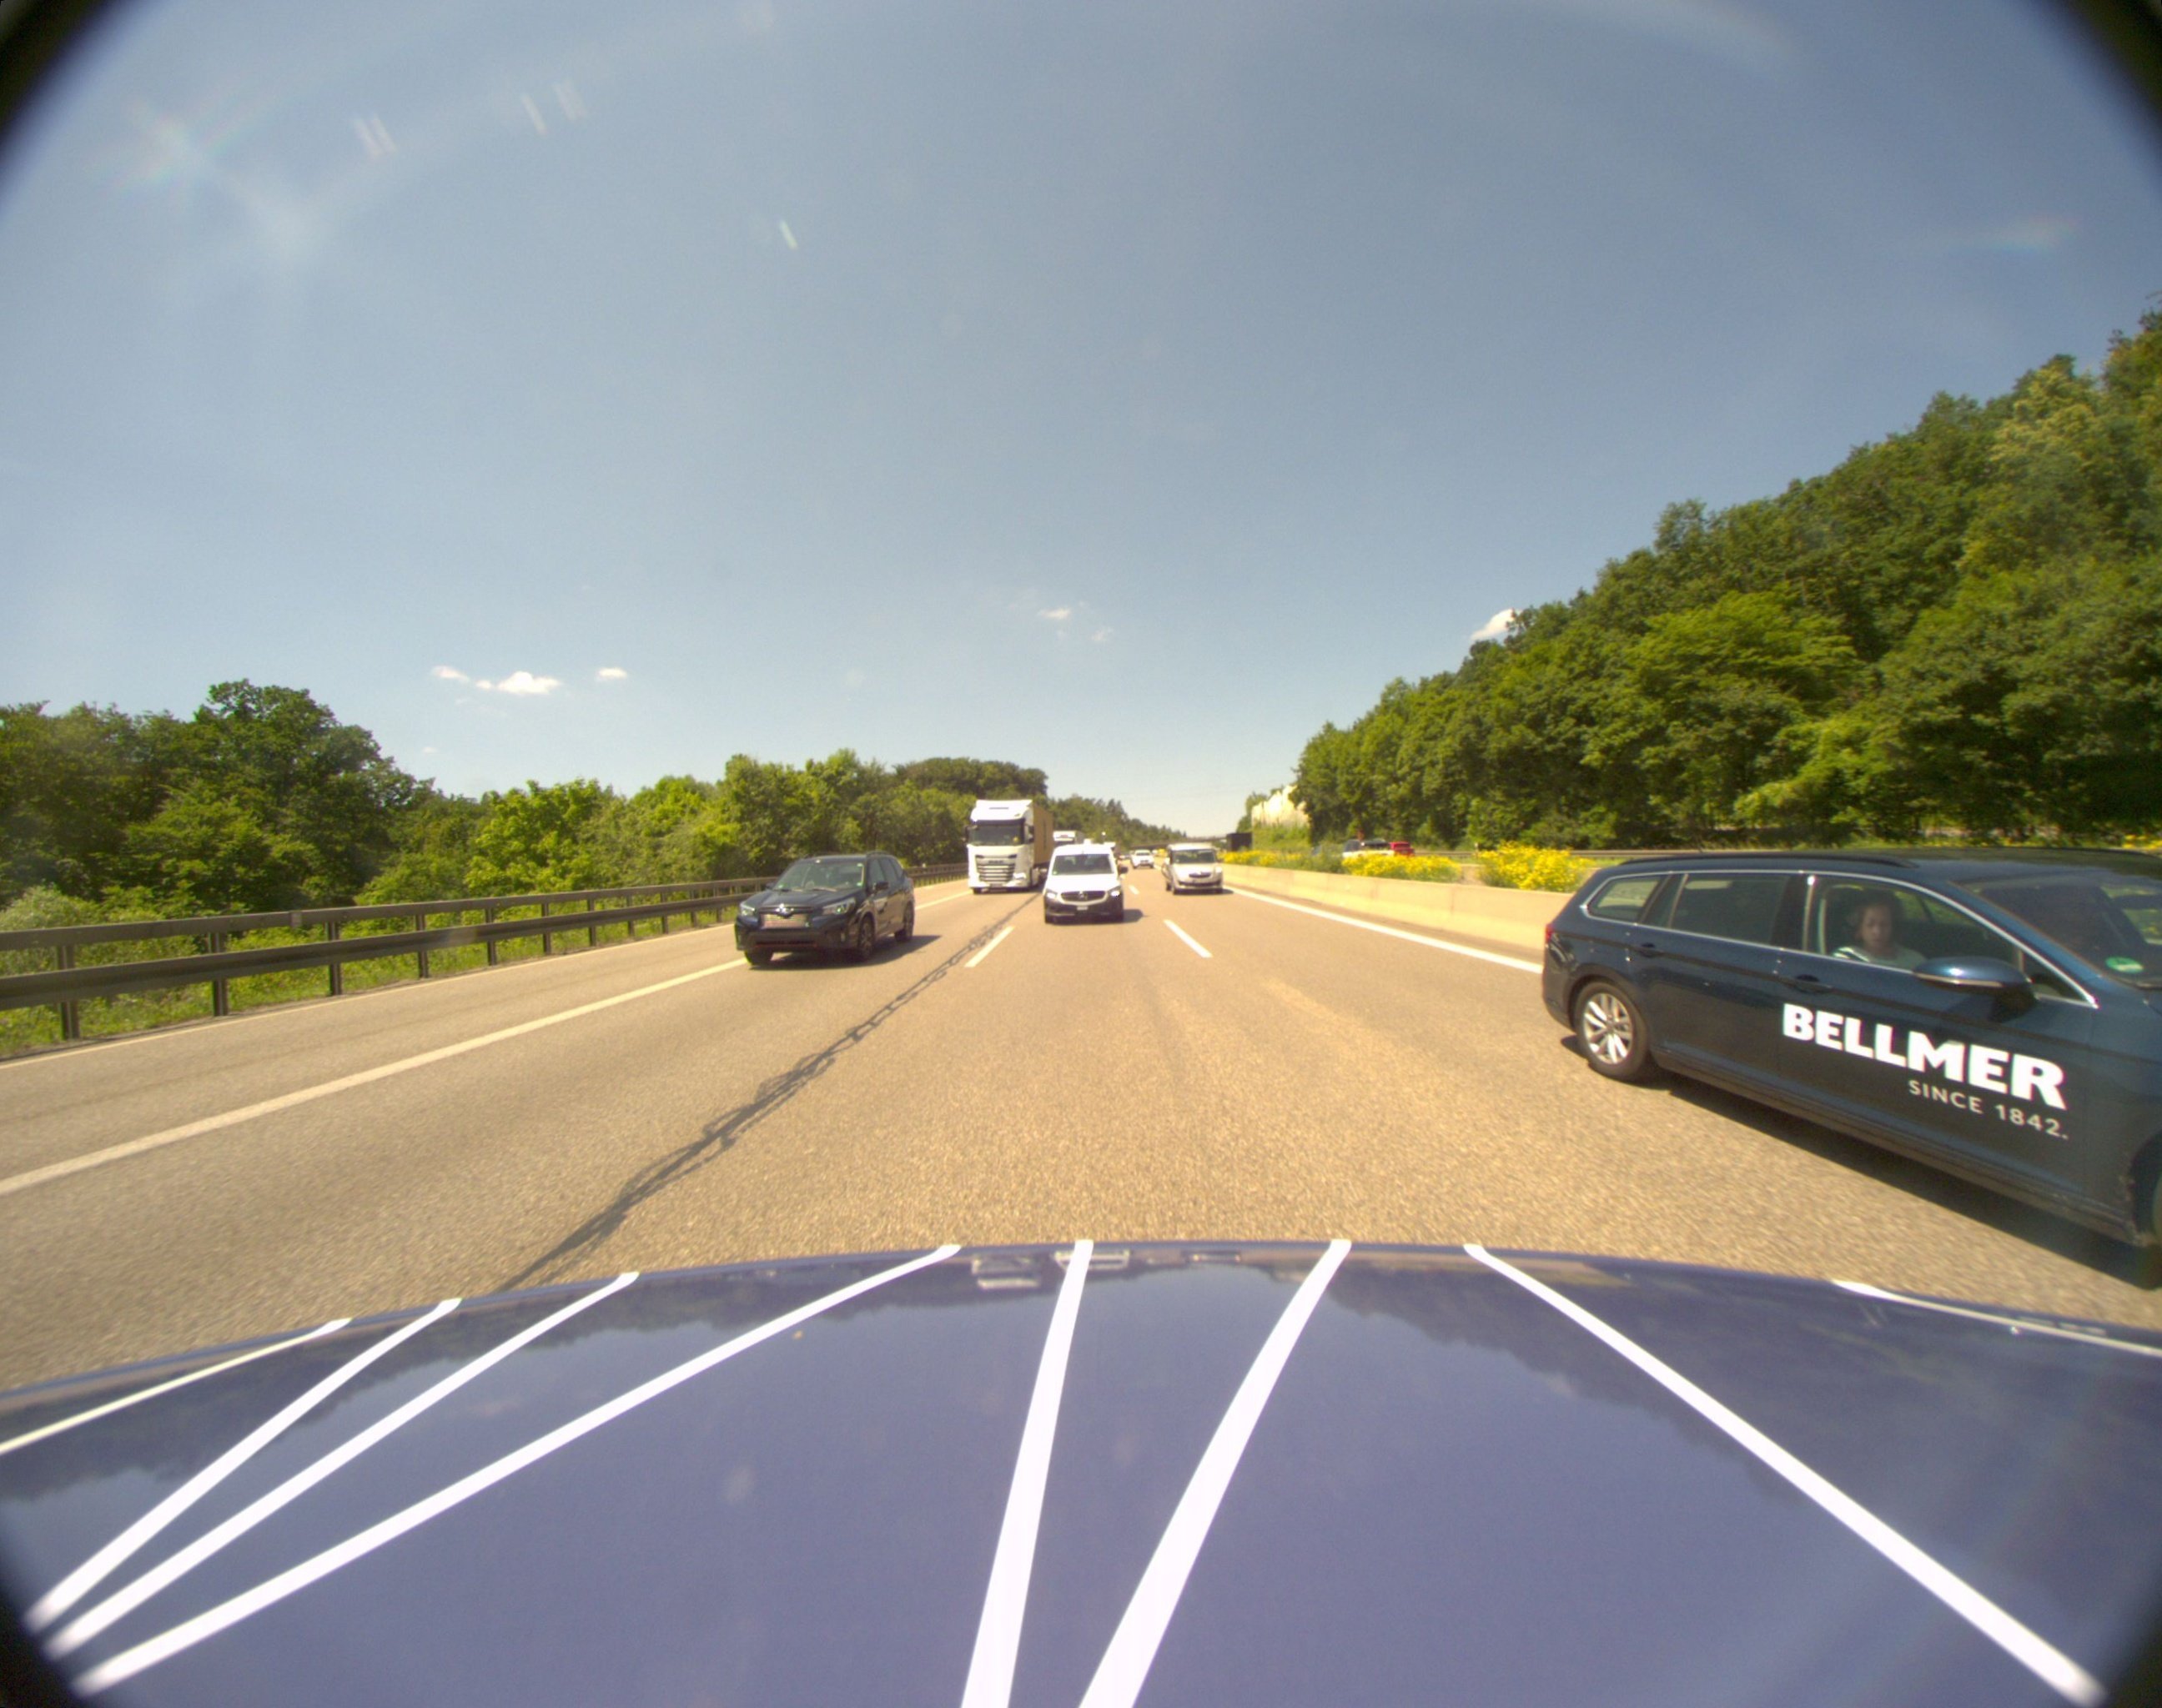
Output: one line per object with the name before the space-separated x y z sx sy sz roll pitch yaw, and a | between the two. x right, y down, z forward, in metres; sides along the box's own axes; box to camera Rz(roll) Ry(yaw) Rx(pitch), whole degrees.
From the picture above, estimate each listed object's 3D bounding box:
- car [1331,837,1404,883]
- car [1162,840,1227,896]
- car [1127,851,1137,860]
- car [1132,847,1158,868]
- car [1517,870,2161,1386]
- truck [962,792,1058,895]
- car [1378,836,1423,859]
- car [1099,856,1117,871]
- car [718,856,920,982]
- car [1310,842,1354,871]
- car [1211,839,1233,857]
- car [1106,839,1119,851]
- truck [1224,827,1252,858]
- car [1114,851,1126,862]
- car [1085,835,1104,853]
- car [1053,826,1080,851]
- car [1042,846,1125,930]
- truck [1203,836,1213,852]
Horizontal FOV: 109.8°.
car | 11.748 0.226 31.424 1.536 1.760 3.885 -2 0 1
car | 4.100 0.466 27.907 1.780 1.833 4.000 -2 0 1
car | 11.467 0.286 170.767 1.998 2.002 4.000 -2 0 0
car | 5.883 0.329 70.345 1.998 1.827 4.000 -2 0 0
car | 4.115 0.862 3.334 1.737 1.419 4.730 -2 0 1
truck | -3.152 -0.546 39.229 2.789 4.145 16.267 -1 1 2
car | 24.010 -0.470 57.206 1.731 1.625 3.999 -2 1 1
car | 3.646 1.257 103.034 1.999 2.002 3.999 -2 0 -2
car | -4.128 0.922 12.782 1.816 1.658 4.203 -2 1 1
car | 16.289 0.169 49.500 1.536 1.760 3.885 -2 0 1
car | 14.474 -0.612 78.027 1.536 1.760 3.885 -2 0 1
car | 7.348 -2.047 175.631 2.722 2.534 5.940 -2 1 0
truck | 18.317 -1.282 89.030 1.998 3.485 6.026 -2 0 1
car | 7.028 0.477 138.256 1.903 2.002 3.999 -2 0 -1
car | 1.998 -1.521 116.605 2.722 2.534 5.940 -2 1 0
car | -1.515 -1.651 81.789 2.722 2.534 5.940 -2 1 0
car | 0.089 0.719 18.576 1.729 1.760 4.312 -2 1 1
truck | 31.925 -2.467 190.811 2.386 3.933 6.908 -2 0 10
